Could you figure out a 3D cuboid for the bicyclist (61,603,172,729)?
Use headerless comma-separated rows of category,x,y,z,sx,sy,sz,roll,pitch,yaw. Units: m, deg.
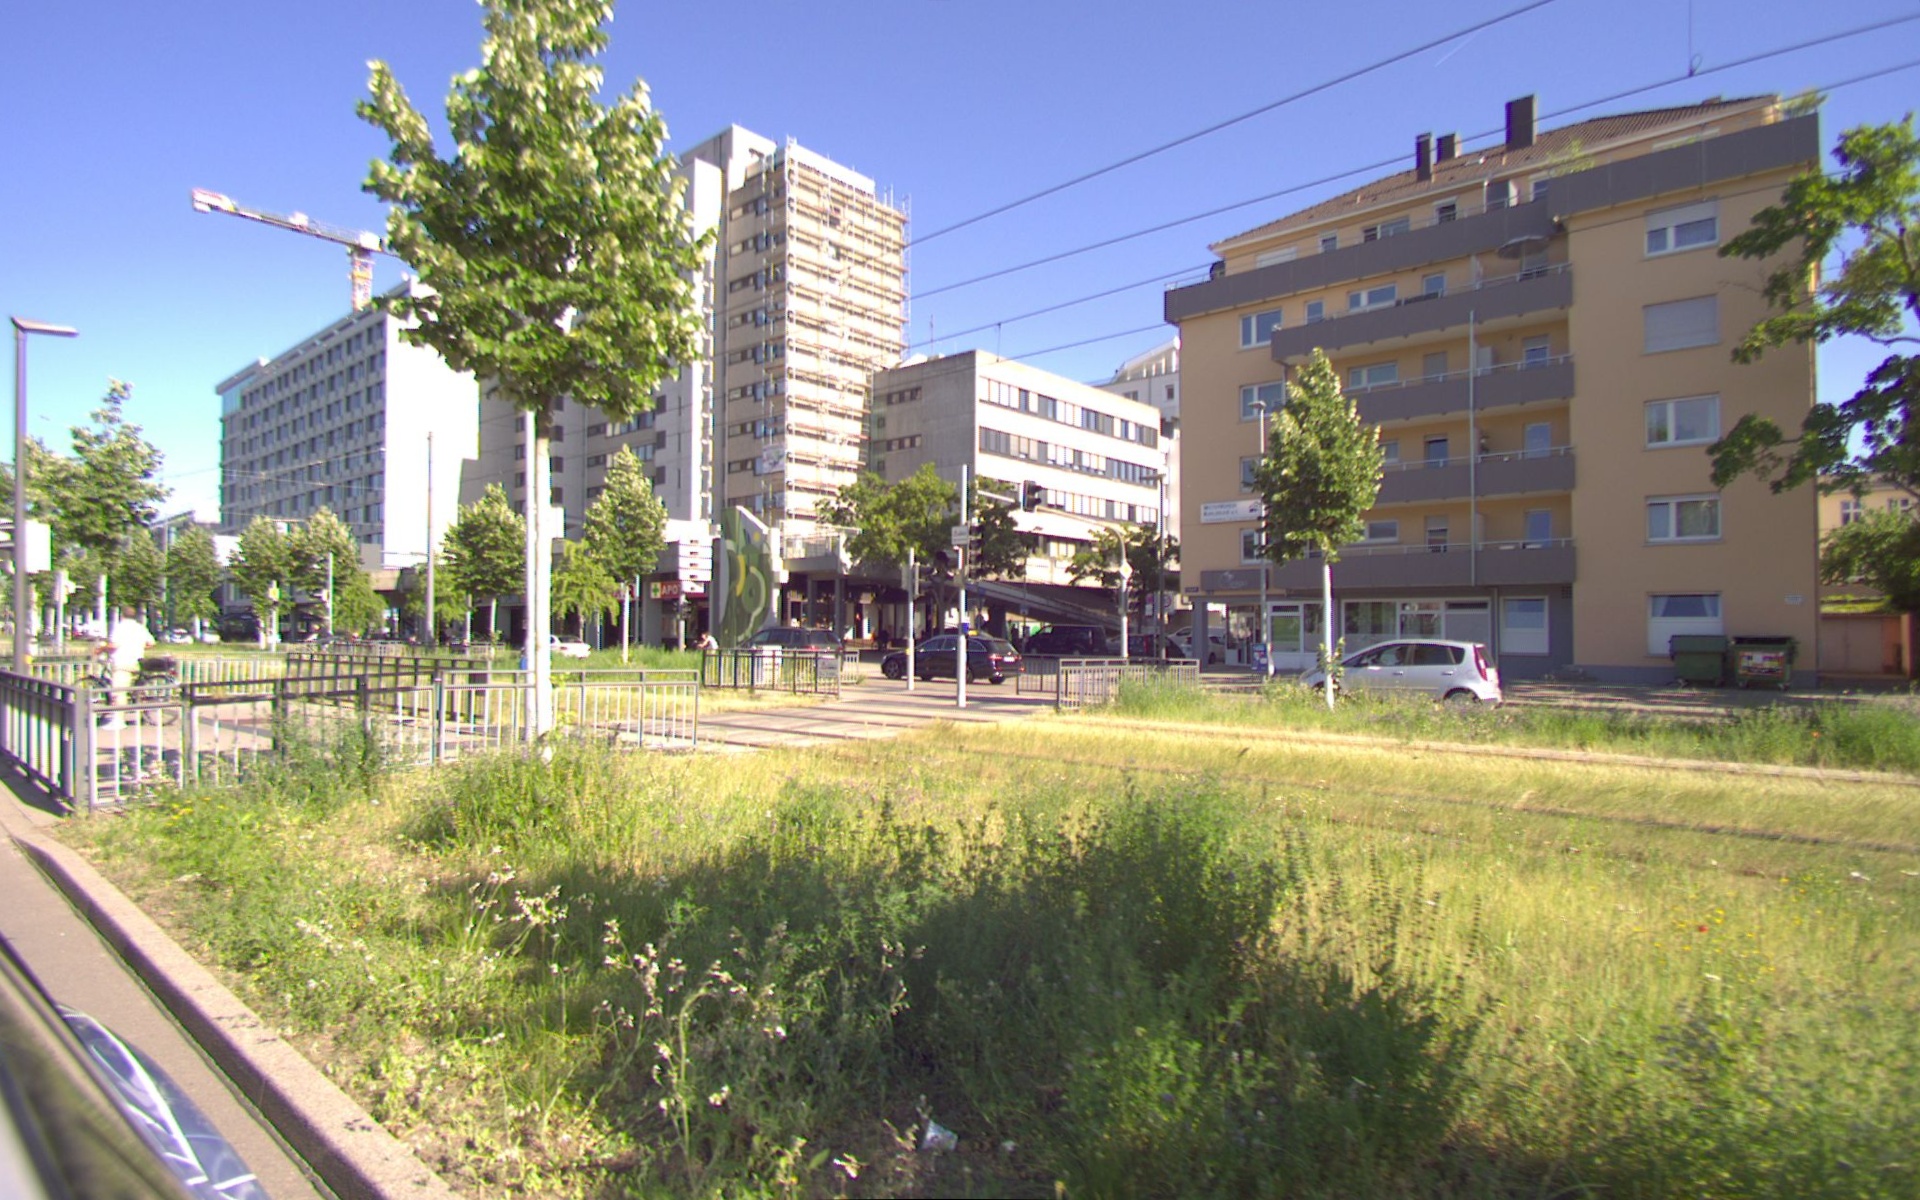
bicyclist,-11.849,0.910,14.239,0.810,1.699,0.858,0,-2,6

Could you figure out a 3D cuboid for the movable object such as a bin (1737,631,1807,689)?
movable object such as a bin,21.260,1.556,26.499,1.327,1.410,1.250,-1,0,44

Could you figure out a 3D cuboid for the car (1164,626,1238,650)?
car,16.837,2.621,70.704,4.642,1.629,1.991,-1,-2,33

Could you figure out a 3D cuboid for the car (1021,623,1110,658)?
car,6.002,2.282,57.739,4.642,1.934,1.991,-1,-2,33

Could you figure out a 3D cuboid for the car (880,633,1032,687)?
car,-0.186,1.814,31.577,4.651,1.514,1.890,-1,-2,40

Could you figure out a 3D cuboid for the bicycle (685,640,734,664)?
bicycle,-11.924,2.445,48.038,2.838,1.084,0.628,-1,-2,38

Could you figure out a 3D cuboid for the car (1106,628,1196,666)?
car,8.697,2.090,45.850,2.012,1.605,4.593,-1,-2,40

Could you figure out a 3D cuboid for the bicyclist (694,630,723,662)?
bicyclist,-11.958,2.161,48.099,1.387,1.505,0.659,-1,-2,37

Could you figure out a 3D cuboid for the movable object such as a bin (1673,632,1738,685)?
movable object such as a bin,20.382,1.584,27.658,1.326,1.380,1.251,-1,-2,41

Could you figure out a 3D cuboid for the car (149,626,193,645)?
car,-65.236,2.917,83.652,4.590,1.582,1.890,-1,-2,40

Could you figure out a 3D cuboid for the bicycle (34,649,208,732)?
bicycle,-11.768,1.252,14.219,1.959,1.064,0.723,1,0,7

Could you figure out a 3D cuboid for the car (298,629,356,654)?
car,-41.921,2.737,66.983,4.590,1.582,1.890,-1,-2,40

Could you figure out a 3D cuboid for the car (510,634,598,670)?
car,-19.133,2.392,47.640,4.651,1.582,1.890,-1,-2,40

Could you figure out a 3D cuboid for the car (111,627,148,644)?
car,-79.568,3.372,96.937,4.590,1.582,1.890,-1,-2,40

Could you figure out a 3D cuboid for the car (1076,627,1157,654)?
car,9.890,2.543,63.978,4.642,1.629,1.991,-1,-2,33

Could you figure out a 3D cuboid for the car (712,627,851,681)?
car,-5.797,1.691,32.580,4.651,1.609,1.890,-1,-2,40

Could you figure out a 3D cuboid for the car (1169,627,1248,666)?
car,12.397,2.270,50.326,2.012,1.793,4.593,-1,-2,40

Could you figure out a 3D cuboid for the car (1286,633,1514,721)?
car,8.918,1.492,20.629,3.990,1.614,1.725,-1,-2,35
